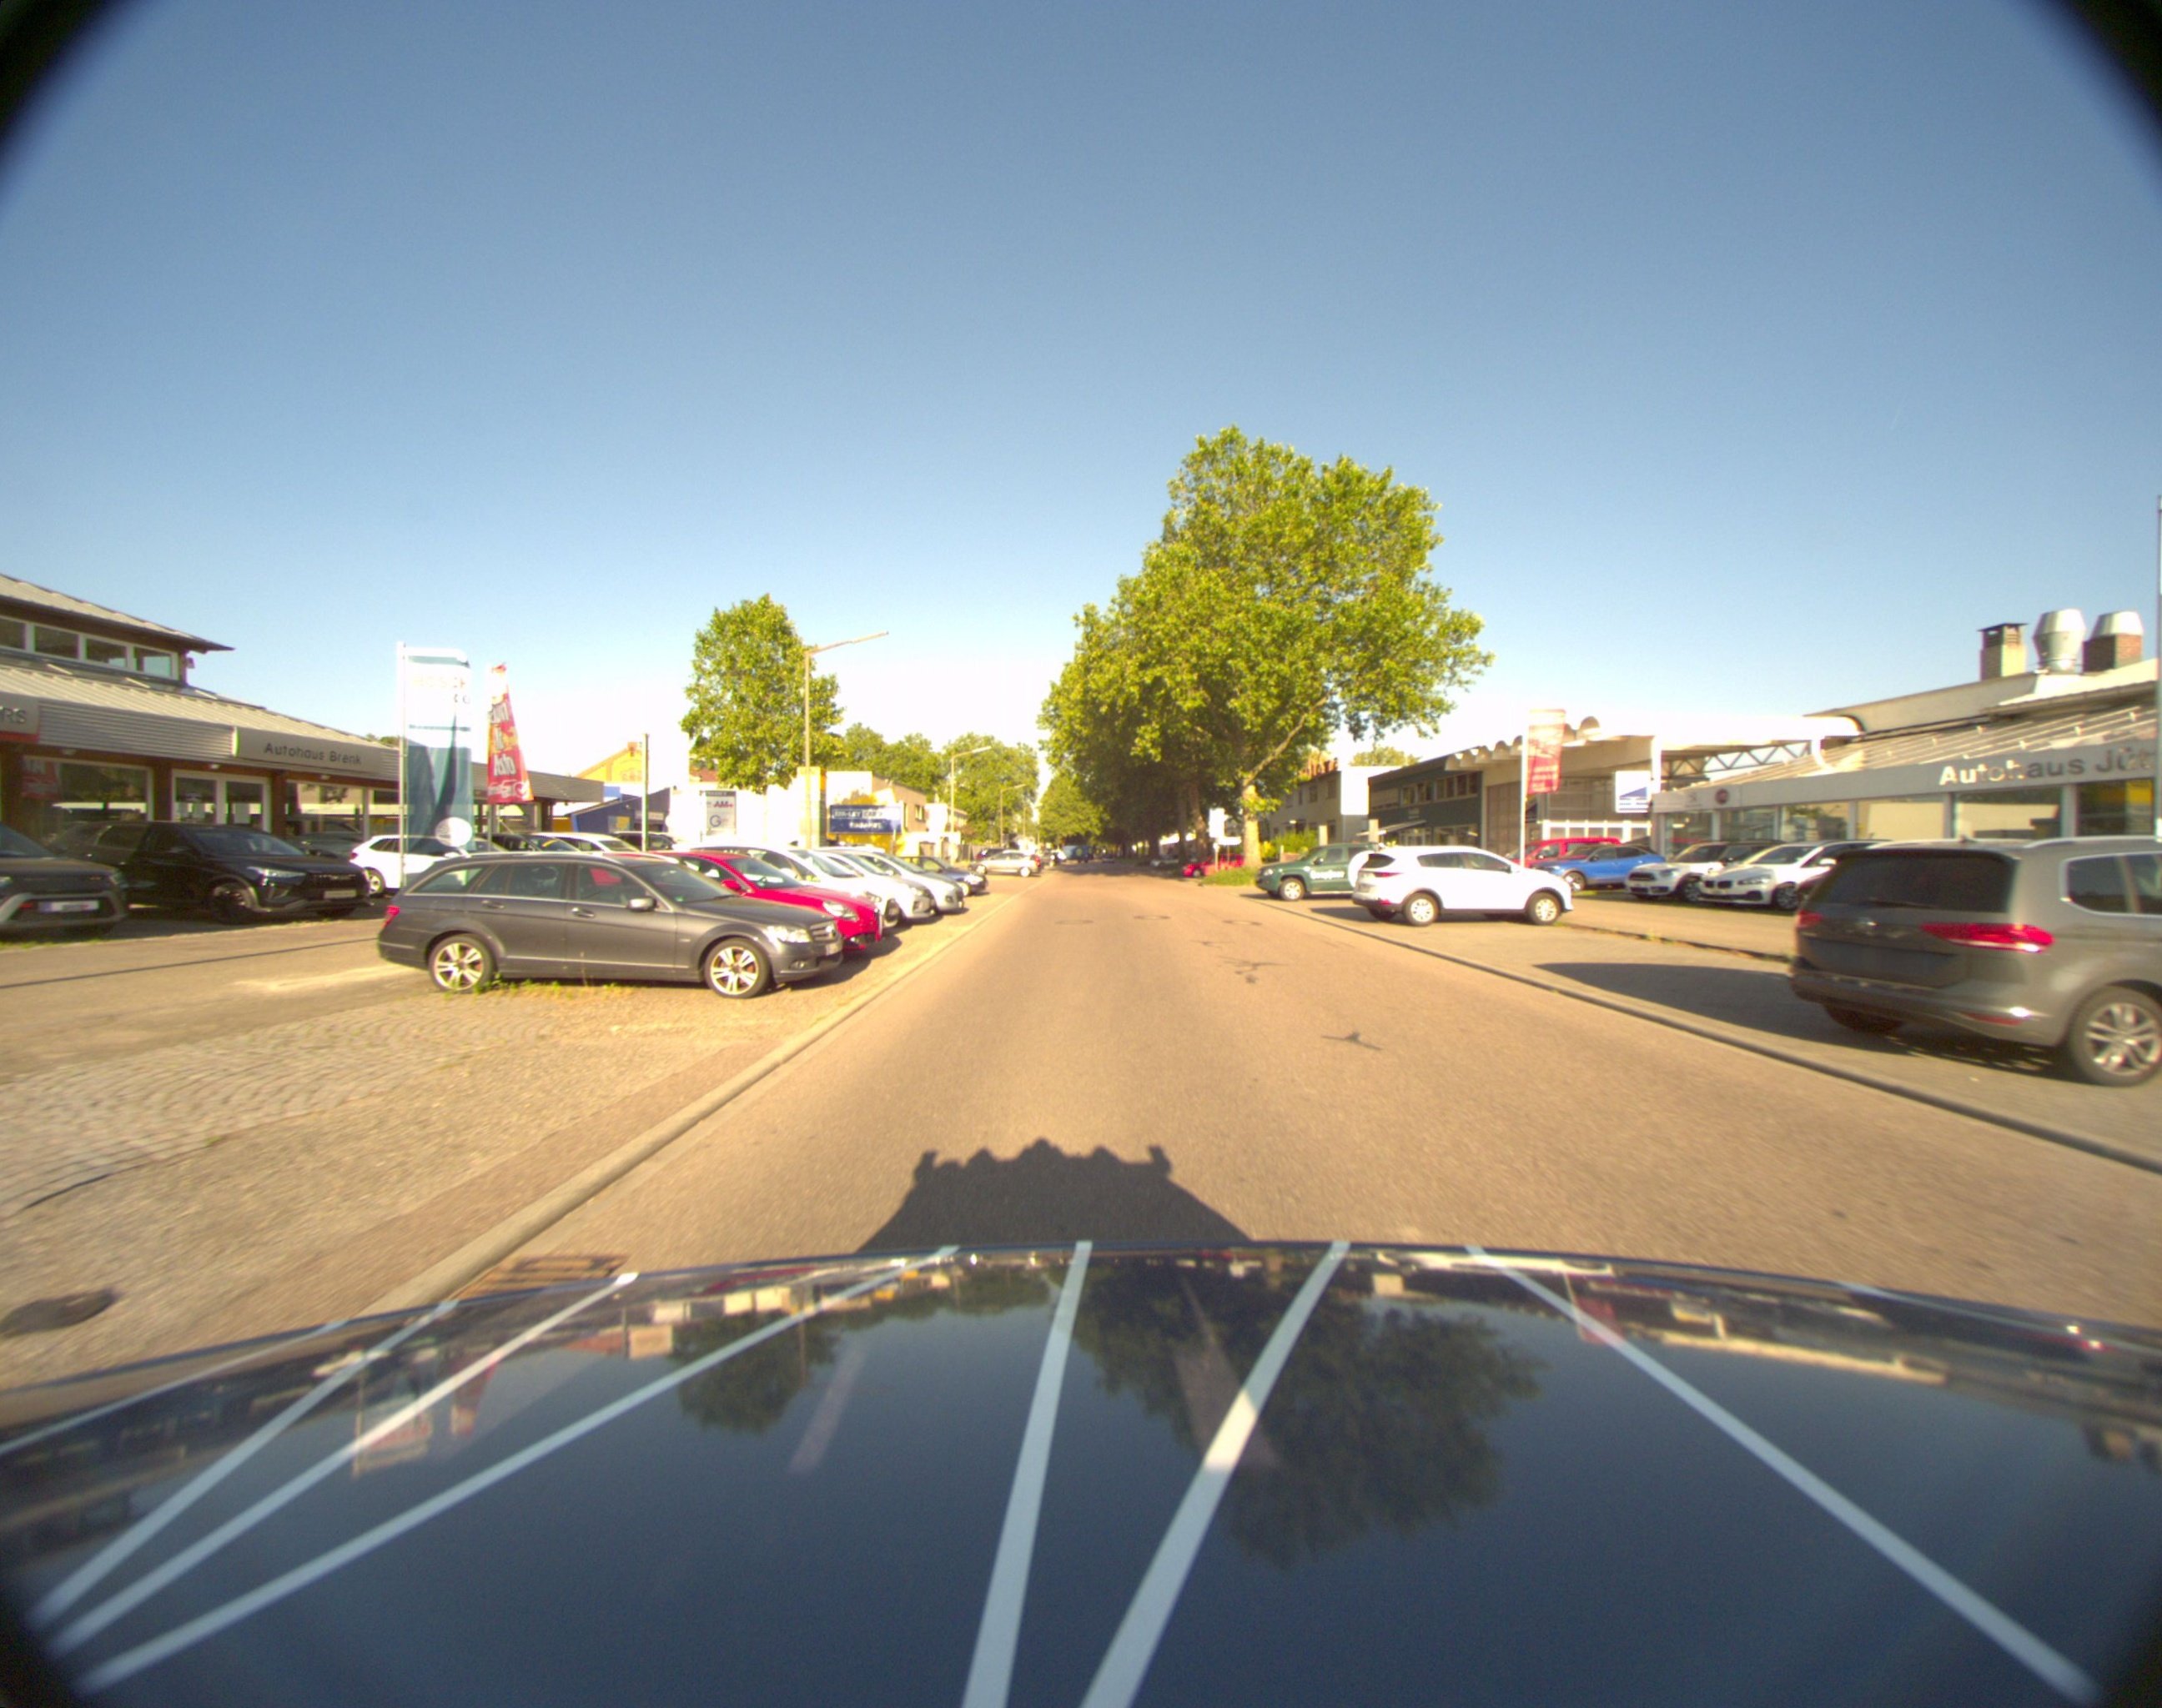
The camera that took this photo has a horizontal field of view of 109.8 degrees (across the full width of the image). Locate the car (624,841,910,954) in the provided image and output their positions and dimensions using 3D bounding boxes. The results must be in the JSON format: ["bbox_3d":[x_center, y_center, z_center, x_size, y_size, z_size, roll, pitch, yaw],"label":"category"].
[{"bbox_3d":[-5.234,0.678,13.151,4.120,1.730,1.883,-1,1,-3],"label":"car"}]

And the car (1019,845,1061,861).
[{"bbox_3d":[-4.667,-0.123,86.805,4.637,1.518,1.999,3,1,-1],"label":"car"}]

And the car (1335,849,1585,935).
[{"bbox_3d":[8.061,0.759,16.485,4.314,1.646,2.201,-1,1,-2],"label":"car"}]

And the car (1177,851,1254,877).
[{"bbox_3d":[8.173,0.615,46.479,4.307,1.438,2.000,-1,1,0],"label":"car"}]

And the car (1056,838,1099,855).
[{"bbox_3d":[-0.620,-1.123,120.320,6.980,2.644,2.139,0,0,37],"label":"car"}]

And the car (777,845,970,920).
[{"bbox_3d":[-4.731,0.630,17.793,3.998,1.579,1.867,2,1,-3],"label":"car"}]

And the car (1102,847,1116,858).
[{"bbox_3d":[4.142,-0.280,113.379,1.843,1.562,3.801,2,1,0],"label":"car"}]

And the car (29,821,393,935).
[{"bbox_3d":[-14.796,0.371,13.120,3.997,1.687,2.000,2,1,1],"label":"car"}]

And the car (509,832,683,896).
[{"bbox_3d":[-14.849,0.338,23.469,3.943,1.886,2.203,0,-2,0],"label":"car"}]

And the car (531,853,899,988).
[{"bbox_3d":[-4.877,0.843,10.656,4.254,1.596,1.745,-1,1,-5],"label":"car"}]

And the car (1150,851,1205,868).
[{"bbox_3d":[8.423,0.480,66.502,4.611,1.413,2.000,0,0,0],"label":"car"}]

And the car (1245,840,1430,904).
[{"bbox_3d":[8.214,0.553,24.711,5.273,1.888,2.201,-1,1,0],"label":"car"}]

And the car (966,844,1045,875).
[{"bbox_3d":[-4.592,0.322,46.707,4.612,1.604,2.000,3,1,0],"label":"car"}]

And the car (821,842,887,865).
[{"bbox_3d":[-15.855,-0.026,53.193,3.998,1.488,1.999,-1,1,-4],"label":"car"}]

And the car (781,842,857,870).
[{"bbox_3d":[-15.956,0.116,46.452,3.998,1.586,1.999,-1,1,-4],"label":"car"}]

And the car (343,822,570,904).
[{"bbox_3d":[-14.873,0.171,18.269,3.912,1.888,1.786,0,3,0],"label":"car"}]

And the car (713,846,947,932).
[{"bbox_3d":[-4.955,0.660,15.504,4.120,1.608,2.058,1,1,-3],"label":"car"}]

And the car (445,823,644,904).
[{"bbox_3d":[-14.617,0.256,20.892,3.809,1.887,2.202,3,0,0],"label":"car"}]

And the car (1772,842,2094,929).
[{"bbox_3d":[16.932,0.579,15.263,4.475,1.544,1.836,-1,1,-1],"label":"car"}]

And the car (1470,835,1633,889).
[{"bbox_3d":[17.151,0.272,27.872,4.758,1.809,1.999,-1,1,-1],"label":"car"}]

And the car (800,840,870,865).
[{"bbox_3d":[-16.003,-0.100,49.591,3.998,1.510,1.952,-1,1,-4],"label":"car"}]

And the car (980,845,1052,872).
[{"bbox_3d":[-4.420,0.309,52.217,4.611,1.571,2.000,3,1,3],"label":"car"}]

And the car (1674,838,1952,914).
[{"bbox_3d":[16.921,0.475,17.737,4.673,1.583,1.928,-1,1,-1],"label":"car"}]

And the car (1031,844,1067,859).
[{"bbox_3d":[-4.161,-0.384,100.698,4.637,1.702,1.999,3,1,-1],"label":"car"}]

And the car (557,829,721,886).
[{"bbox_3d":[-15.716,0.095,27.223,4.507,1.888,2.201,-1,1,0],"label":"car"}]

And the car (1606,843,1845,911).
[{"bbox_3d":[17.101,0.565,20.329,4.731,1.633,1.999,-1,1,-1],"label":"car"}]

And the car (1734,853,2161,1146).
[{"bbox_3d":[7.951,0.871,5.723,4.242,1.646,2.201,-1,1,-2],"label":"car"}]

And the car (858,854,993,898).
[{"bbox_3d":[-5.064,0.699,25.096,3.996,1.289,1.784,2,1,3],"label":"car"}]

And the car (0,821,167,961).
[{"bbox_3d":[-14.908,0.384,9.732,3.997,1.650,2.000,2,1,1],"label":"car"}]

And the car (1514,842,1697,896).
[{"bbox_3d":[17.234,0.458,25.125,4.726,1.624,1.999,-1,1,-1],"label":"car"}]

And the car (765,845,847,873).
[{"bbox_3d":[-15.837,0.249,43.943,3.998,1.510,1.999,-1,1,-4],"label":"car"}]

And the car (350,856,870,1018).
[{"bbox_3d":[-4.907,0.818,8.498,4.448,1.427,2.135,2,1,0],"label":"car"}]
